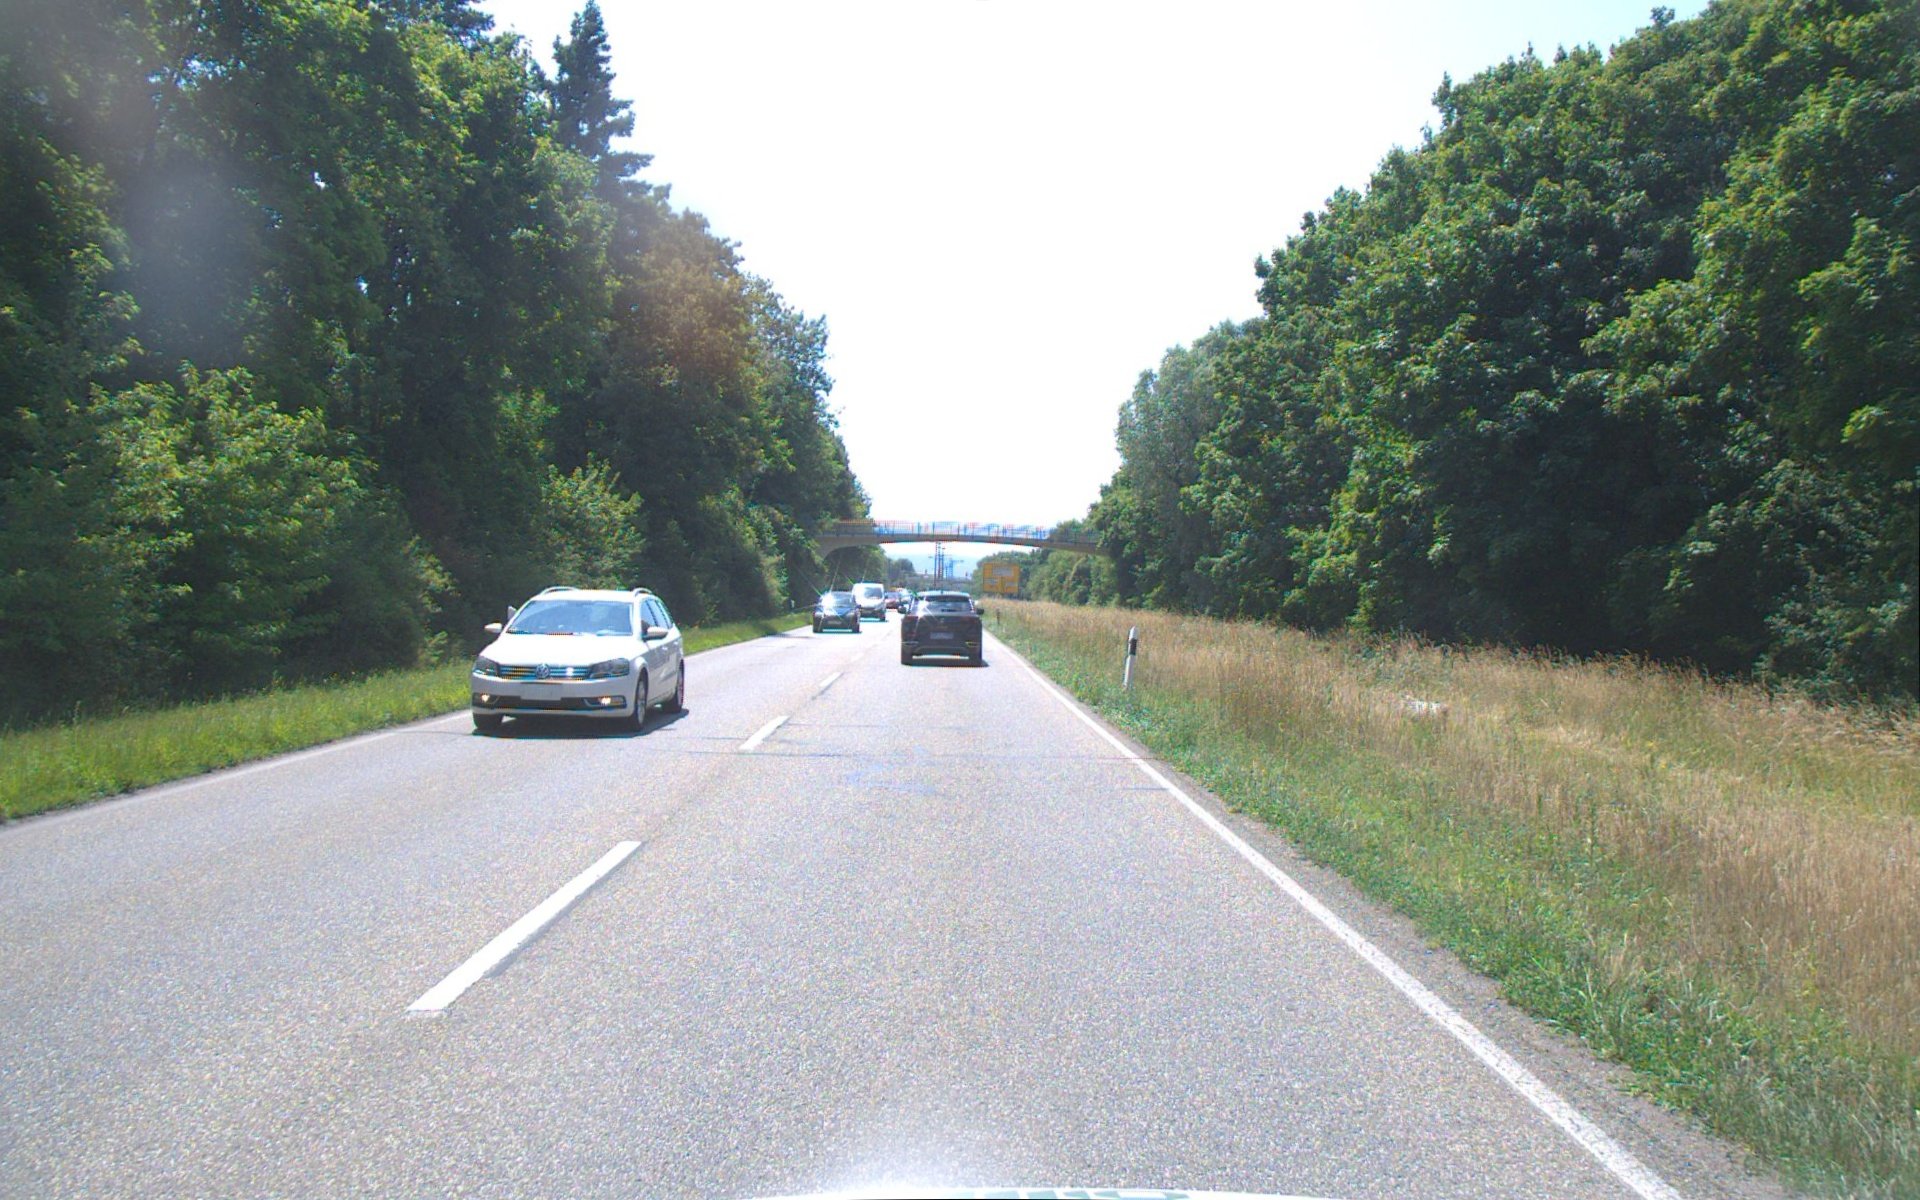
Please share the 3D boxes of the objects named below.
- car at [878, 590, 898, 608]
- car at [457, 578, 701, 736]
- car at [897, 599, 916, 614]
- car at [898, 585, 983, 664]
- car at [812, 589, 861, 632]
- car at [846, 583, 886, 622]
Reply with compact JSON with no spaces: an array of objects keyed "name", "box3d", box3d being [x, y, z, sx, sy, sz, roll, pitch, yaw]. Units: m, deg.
[{"name":"car","box3d":[-6.199,-0.131,142.800,1.648,1.519,3.999,0,0,-1]},{"name":"car","box3d":[-4.182,0.553,18.899,1.802,1.563,4.657,1,0,-2]},{"name":"car","box3d":[-5.423,0.624,168.859,1.747,1.475,4.110,0,0,1]},{"name":"car","box3d":[-0.407,0.514,36.408,1.719,1.583,4.000,2,0,0]},{"name":"car","box3d":[-4.617,0.390,62.216,1.638,1.545,3.999,1,0,-2]},{"name":"car","box3d":[-4.920,0.112,86.949,1.837,1.962,4.986,1,0,-1]}]
